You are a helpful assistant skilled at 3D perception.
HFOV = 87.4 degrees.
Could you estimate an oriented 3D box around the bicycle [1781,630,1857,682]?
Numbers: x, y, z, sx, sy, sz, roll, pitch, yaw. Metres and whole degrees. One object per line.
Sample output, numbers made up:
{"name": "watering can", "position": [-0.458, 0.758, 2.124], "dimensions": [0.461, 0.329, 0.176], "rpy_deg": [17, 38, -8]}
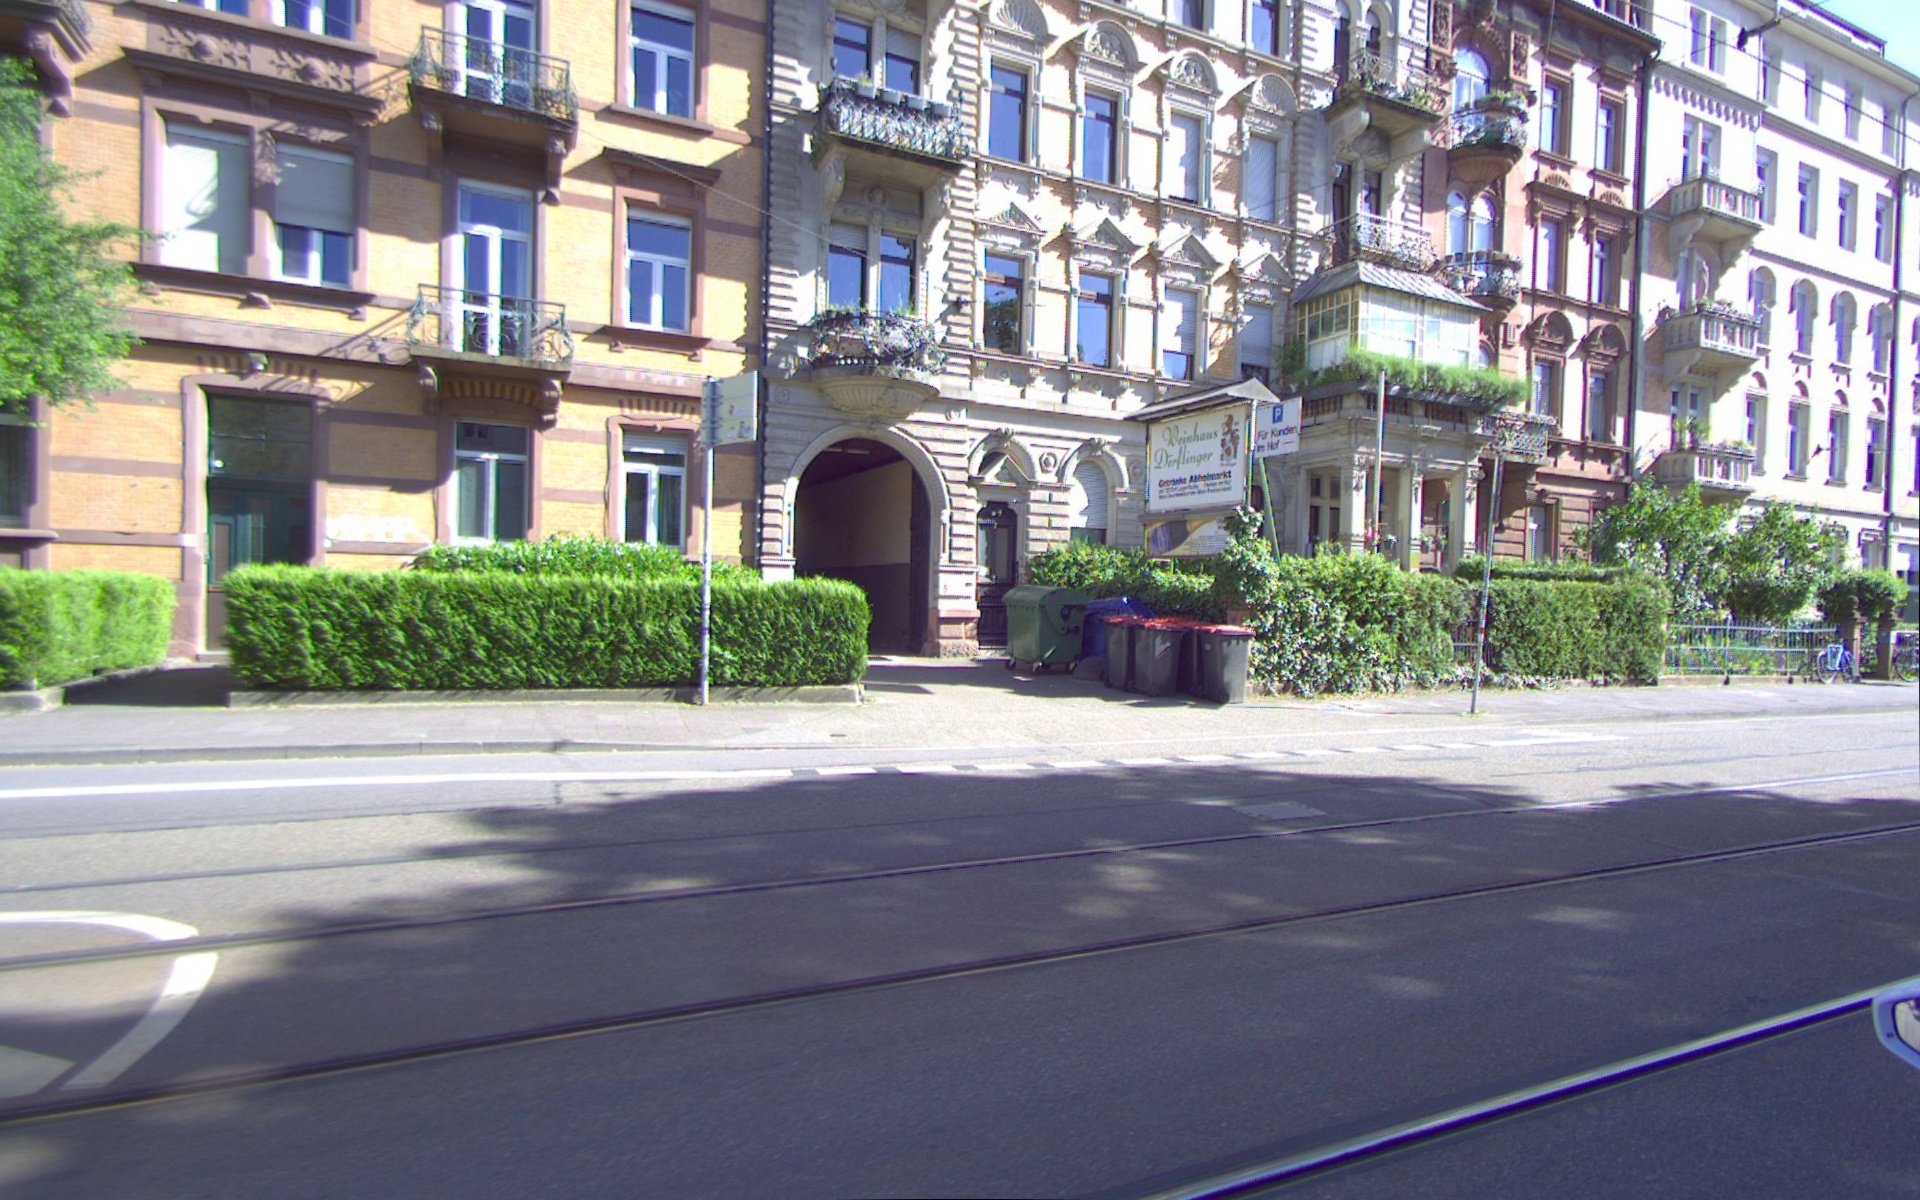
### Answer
{"name": "bicycle", "position": [18.849, 1.218, 22.035], "dimensions": [1.743, 1.047, 0.561], "rpy_deg": [1, 4, -25]}

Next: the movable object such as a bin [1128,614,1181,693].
{"name": "movable object such as a bin", "position": [2.835, 0.781, 14.656], "dimensions": [0.534, 1.100, 0.478], "rpy_deg": [2, 3, -24]}

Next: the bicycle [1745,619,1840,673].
{"name": "bicycle", "position": [19.422, 1.054, 23.476], "dimensions": [0.473, 1.047, 1.569], "rpy_deg": [1, 5, -25]}

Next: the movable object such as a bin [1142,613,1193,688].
{"name": "movable object such as a bin", "position": [3.167, 0.769, 15.371], "dimensions": [0.534, 1.100, 0.478], "rpy_deg": [2, 3, -24]}

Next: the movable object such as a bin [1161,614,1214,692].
{"name": "movable object such as a bin", "position": [3.374, 0.782, 14.902], "dimensions": [0.534, 1.100, 0.478], "rpy_deg": [2, 3, -24]}

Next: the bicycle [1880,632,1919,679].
{"name": "bicycle", "position": [22.440, 1.297, 23.605], "dimensions": [1.744, 1.047, 0.561], "rpy_deg": [1, 3, -27]}

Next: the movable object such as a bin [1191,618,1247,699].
{"name": "movable object such as a bin", "position": [3.711, 0.833, 14.413], "dimensions": [0.534, 1.100, 0.478], "rpy_deg": [2, 3, -24]}

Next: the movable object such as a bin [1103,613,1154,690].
{"name": "movable object such as a bin", "position": [2.534, 0.765, 15.096], "dimensions": [0.534, 1.100, 0.478], "rpy_deg": [2, 3, -24]}

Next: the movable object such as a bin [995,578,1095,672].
{"name": "movable object such as a bin", "position": [1.429, 0.408, 17.127], "dimensions": [1.154, 1.467, 1.316], "rpy_deg": [2, 3, -24]}
